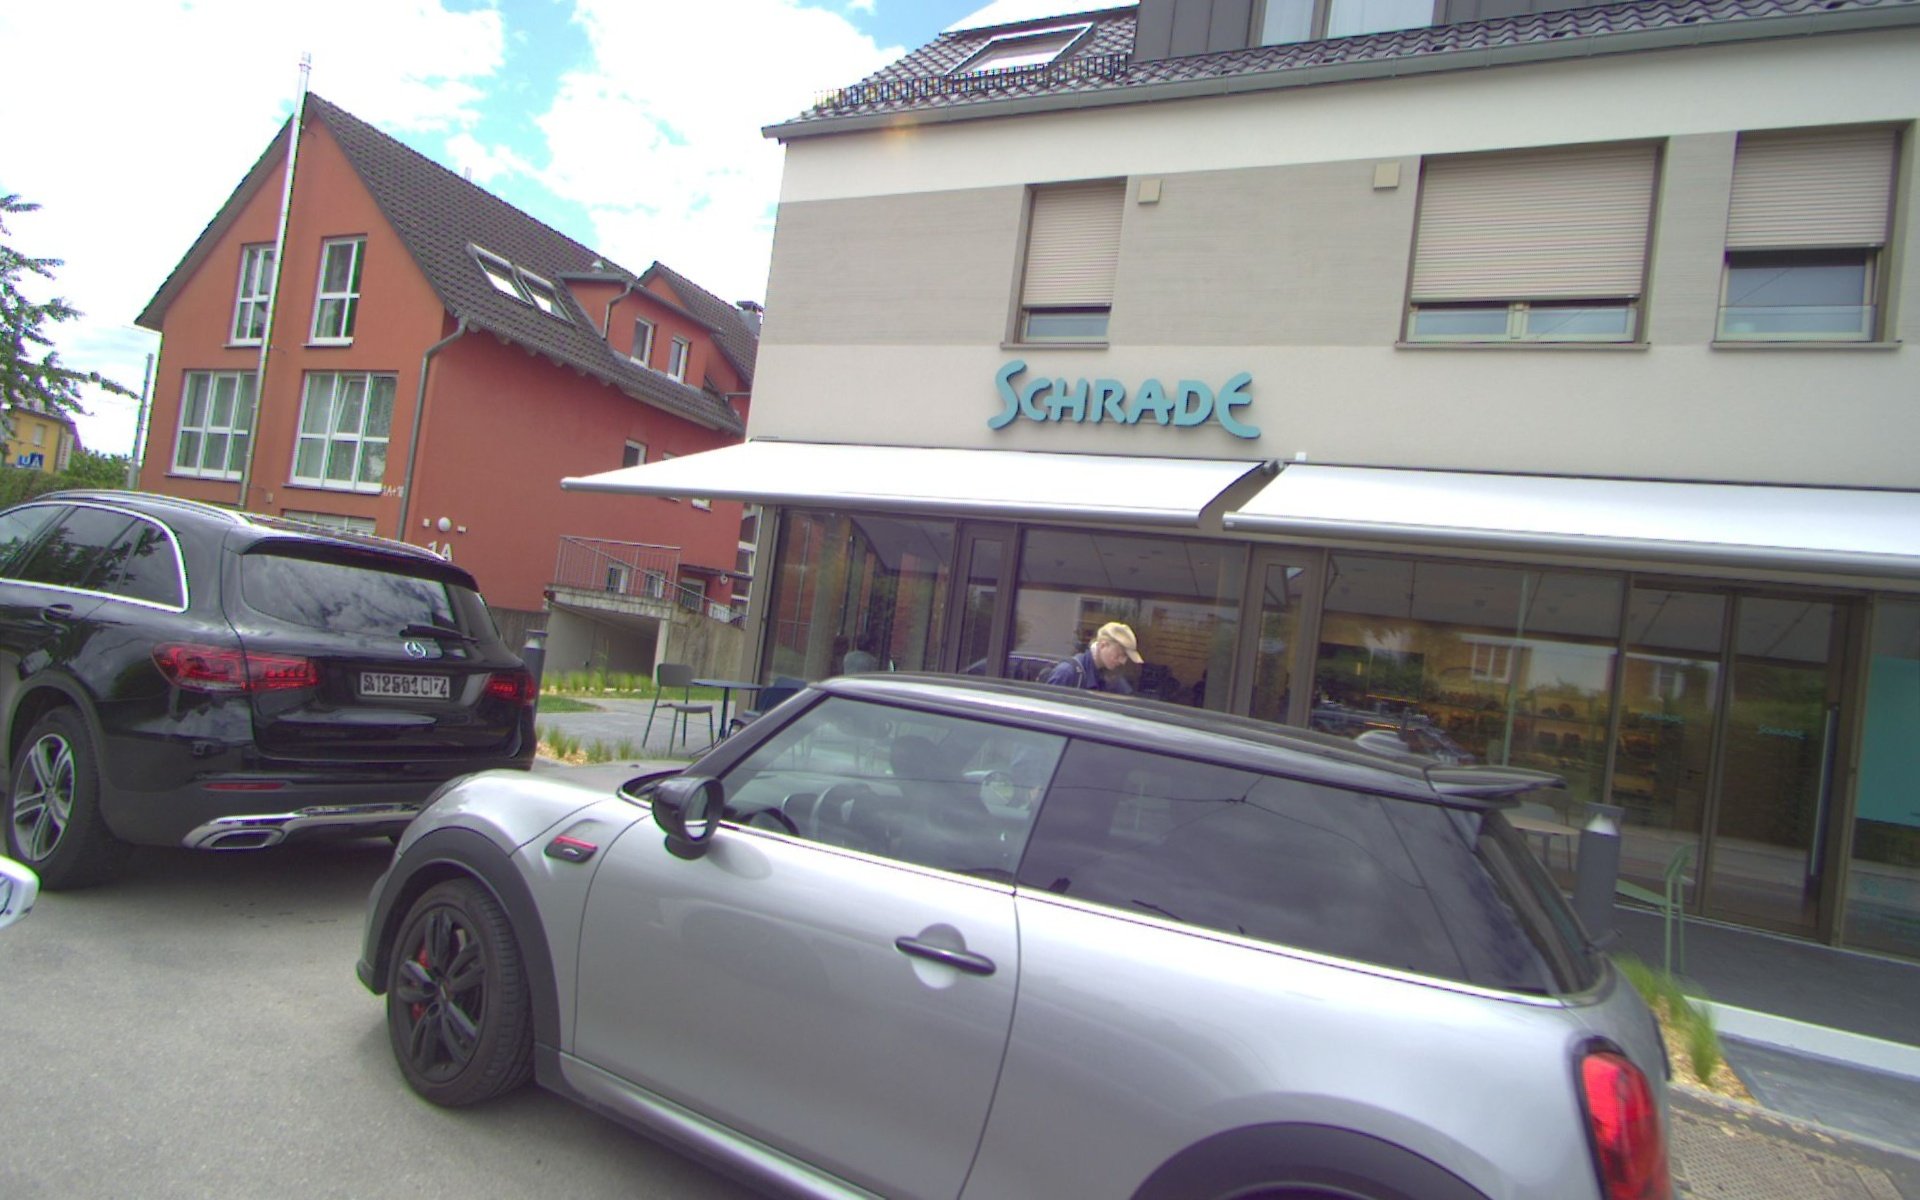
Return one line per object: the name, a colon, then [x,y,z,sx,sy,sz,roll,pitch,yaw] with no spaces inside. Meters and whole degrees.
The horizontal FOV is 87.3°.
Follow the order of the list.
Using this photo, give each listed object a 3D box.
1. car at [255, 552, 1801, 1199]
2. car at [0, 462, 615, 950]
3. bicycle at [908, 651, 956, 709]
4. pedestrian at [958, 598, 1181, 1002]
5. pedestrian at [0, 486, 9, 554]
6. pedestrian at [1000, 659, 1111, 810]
car: [-0.126,0.879,3.103,3.769,1.468,1.713,7,-3,29]
car: [-4.247,0.286,5.391,4.388,1.654,1.854,7,-3,28]
bicycle: [-0.633,1.735,22.183,0.454,1.096,1.777,7,-2,-18]
pedestrian: [0.538,0.894,4.802,0.648,1.688,0.677,7,-1,30]
pedestrian: [-25.355,-2.043,26.060,0.618,1.937,0.826,8,-1,-24]
pedestrian: [0.906,1.243,9.443,0.679,1.252,0.753,7,-2,24]
